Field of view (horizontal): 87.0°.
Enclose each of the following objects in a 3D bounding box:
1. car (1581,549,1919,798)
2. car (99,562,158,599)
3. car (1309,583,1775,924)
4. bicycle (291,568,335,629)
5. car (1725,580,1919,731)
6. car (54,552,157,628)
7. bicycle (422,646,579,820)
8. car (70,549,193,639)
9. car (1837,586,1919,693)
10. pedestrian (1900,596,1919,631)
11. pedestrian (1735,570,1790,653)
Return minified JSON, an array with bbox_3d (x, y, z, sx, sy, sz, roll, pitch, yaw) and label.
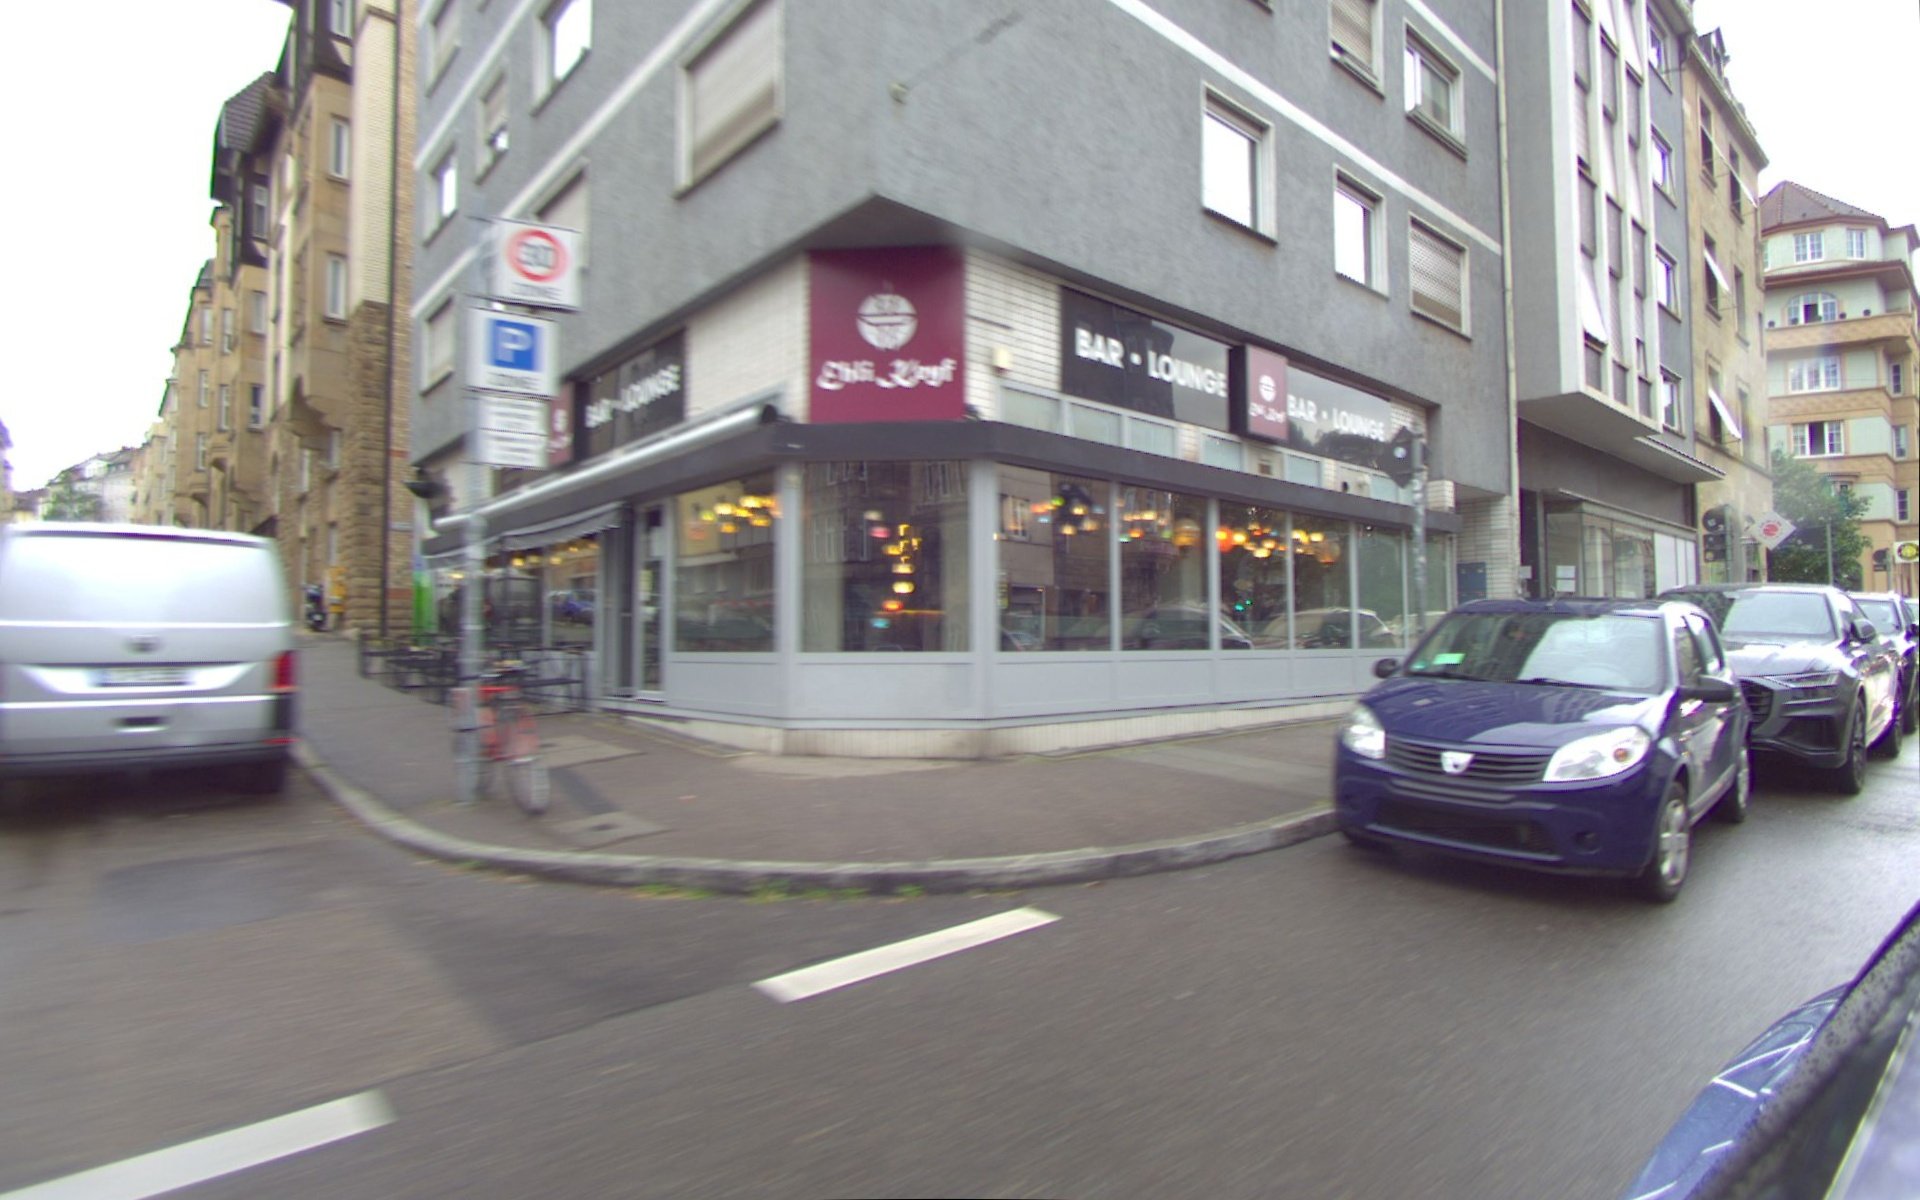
[{"bbox_3d":[7.556,0.531,9.453,4.488,1.783,1.795,0,-1,-42],"label":"car"},{"bbox_3d":[-36.058,-0.824,43.840,1.793,1.523,4.098,2,-1,-41],"label":"car"},{"bbox_3d":[3.891,0.665,6.447,1.691,1.501,3.867,0,0,44],"label":"car"},{"bbox_3d":[-15.872,-0.056,24.800,0.526,1.425,2.300,0,0,-42],"label":"bicycle"},{"bbox_3d":[11.666,0.602,13.301,4.177,1.675,1.820,0,1,-42],"label":"car"},{"bbox_3d":[-22.521,-0.234,26.642,1.892,1.827,4.476,2,-1,-41],"label":"car"},{"bbox_3d":[-3.136,0.824,6.821,0.524,0.985,1.752,0,-1,-39],"label":"bicycle"},{"bbox_3d":[-18.257,-0.119,22.234,1.892,1.761,4.476,2,-1,-41],"label":"car"},{"bbox_3d":[16.341,0.604,17.140,4.441,1.634,1.713,0,1,-42],"label":"car"},{"bbox_3d":[43.113,0.600,45.942,0.430,1.592,0.578,0,-2,-42],"label":"pedestrian"},{"bbox_3d":[18.436,0.252,23.251,0.832,1.840,0.851,0,0,-41],"label":"pedestrian"}]
